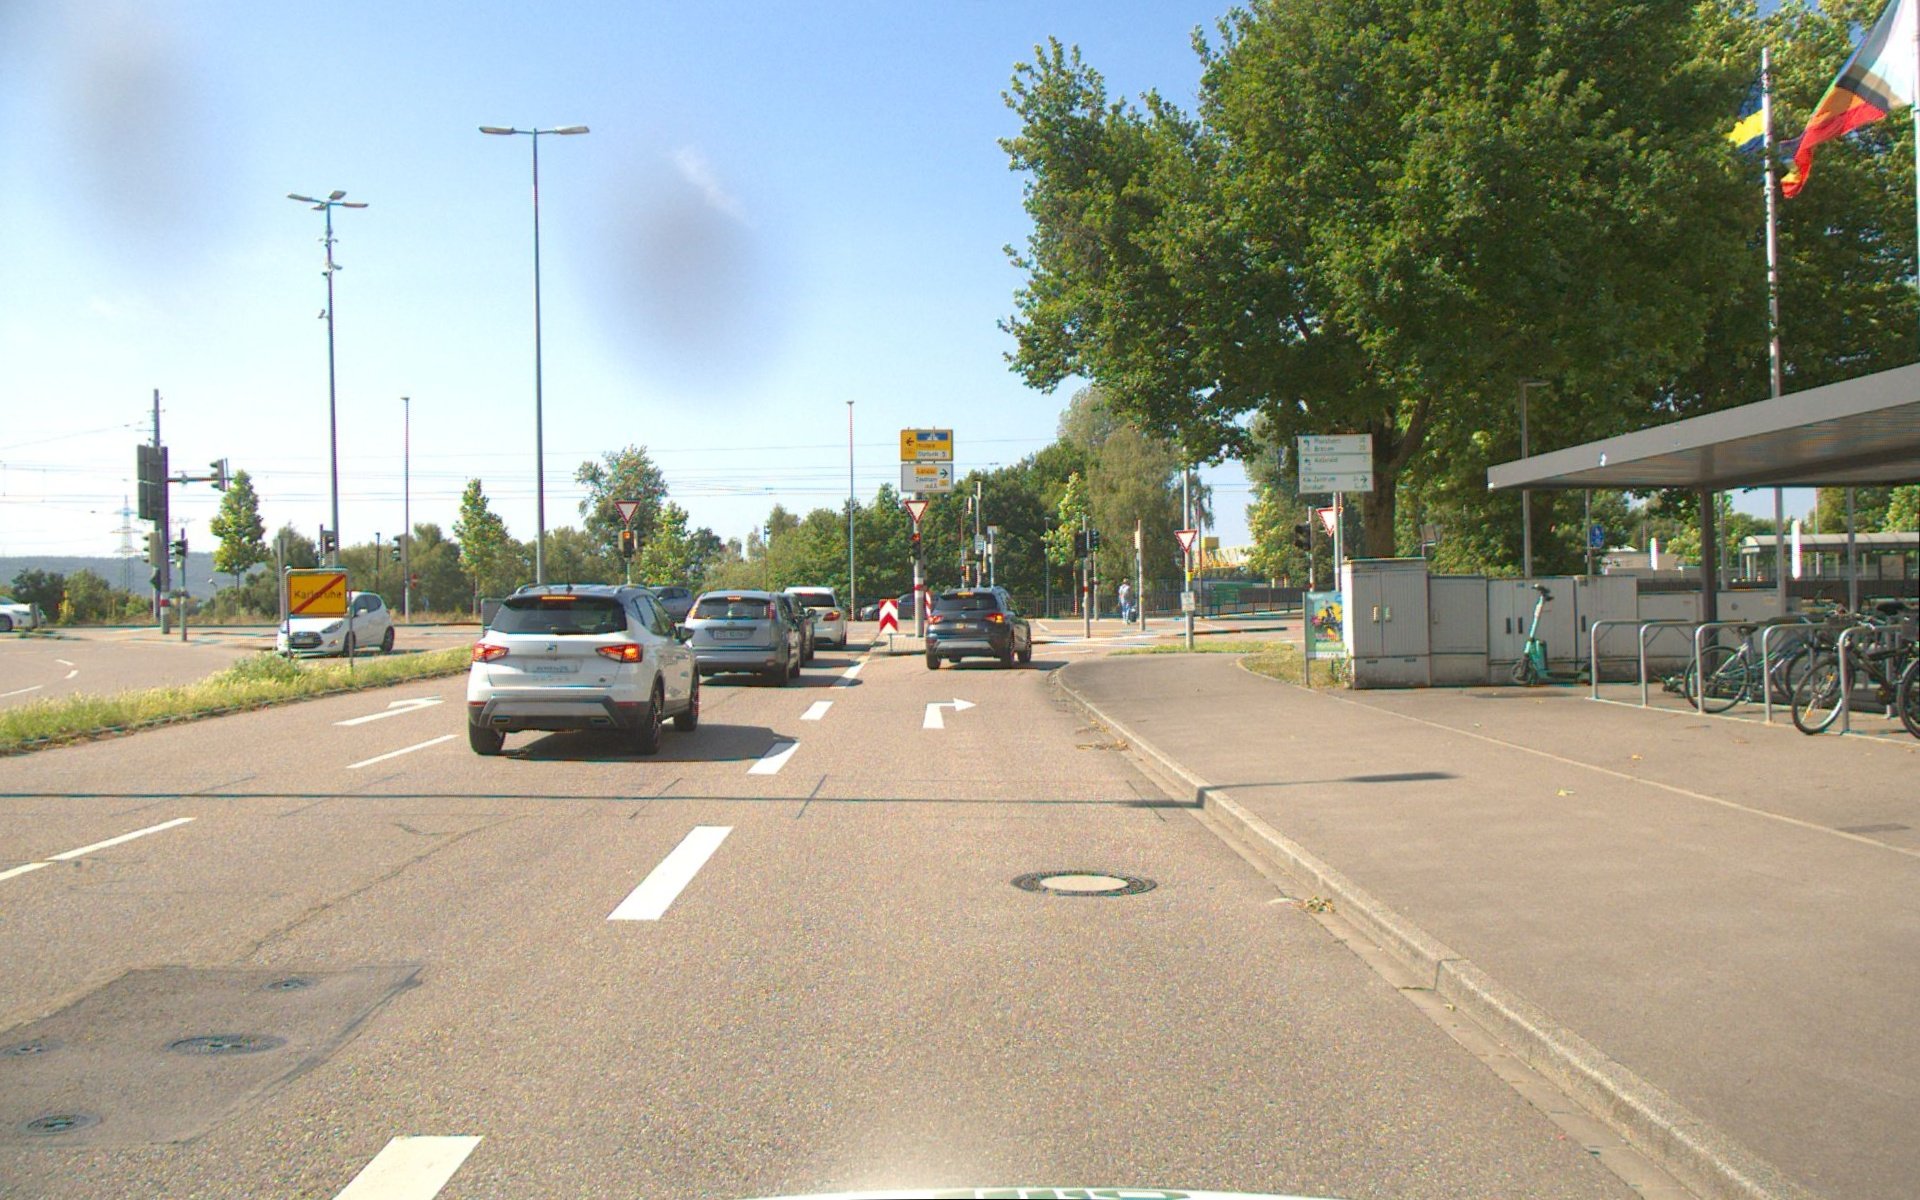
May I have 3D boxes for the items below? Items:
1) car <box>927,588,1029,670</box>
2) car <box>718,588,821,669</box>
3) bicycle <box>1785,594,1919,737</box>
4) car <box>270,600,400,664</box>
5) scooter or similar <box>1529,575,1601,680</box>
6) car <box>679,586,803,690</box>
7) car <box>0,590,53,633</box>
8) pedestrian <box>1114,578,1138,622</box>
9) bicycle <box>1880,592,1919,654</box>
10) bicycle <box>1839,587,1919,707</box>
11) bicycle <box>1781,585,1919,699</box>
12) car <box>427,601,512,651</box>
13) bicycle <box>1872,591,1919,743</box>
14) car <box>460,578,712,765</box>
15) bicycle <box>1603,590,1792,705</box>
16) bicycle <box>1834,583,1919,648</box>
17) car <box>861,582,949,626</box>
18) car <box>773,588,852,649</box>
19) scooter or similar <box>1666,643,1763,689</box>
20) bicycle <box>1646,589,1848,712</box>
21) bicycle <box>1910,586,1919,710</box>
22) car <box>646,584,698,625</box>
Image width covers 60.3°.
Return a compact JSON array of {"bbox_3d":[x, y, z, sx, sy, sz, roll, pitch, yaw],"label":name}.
[{"bbox_3d":[0.405,0.541,32.979,1.634,1.550,3.379,0,0,7],"label":"car"},{"bbox_3d":[-3.890,0.539,34.409,1.702,1.538,4.199,-2,0,-1],"label":"car"},{"bbox_3d":[7.767,0.519,13.607,1.723,1.115,0.452,-2,0,-1],"label":"bicycle"},{"bbox_3d":[-16.229,0.800,43.156,1.757,1.574,4.087,-1,0,1],"label":"car"},{"bbox_3d":[7.650,0.347,20.921,0.761,1.287,0.283,-2,0,-4],"label":"scooter or similar"},{"bbox_3d":[-3.588,0.576,27.688,1.672,1.600,4.172,0,0,-3],"label":"car"},{"bbox_3d":[-35.754,0.443,61.486,3.278,1.526,1.408,-1,-1,-5],"label":"car"},{"bbox_3d":[6.019,-0.013,59.992,0.756,1.537,1.008,-1,1,10],"label":"pedestrian"},{"bbox_3d":[15.118,0.341,25.558,1.529,0.925,0.434,-1,0,1],"label":"bicycle"},{"bbox_3d":[9.464,0.425,15.889,1.791,1.115,0.452,-2,0,-1],"label":"bicycle"},{"bbox_3d":[9.462,0.418,17.081,1.723,1.115,0.452,-2,0,-1],"label":"bicycle"},{"bbox_3d":[-10.749,0.554,36.354,1.094,1.021,2.492,-2,0,1],"label":"car"},{"bbox_3d":[7.874,0.472,12.477,1.723,1.115,0.452,-2,0,-1],"label":"bicycle"},{"bbox_3d":[-3.539,0.595,16.320,1.597,1.524,3.870,0,2,0],"label":"car"},{"bbox_3d":[7.583,0.480,17.025,1.723,1.115,0.452,-2,0,-1],"label":"bicycle"},{"bbox_3d":[14.979,0.238,26.659,1.529,1.012,0.434,-1,0,1],"label":"bicycle"},{"bbox_3d":[-2.691,0.192,80.931,3.922,2.049,1.991,-1,-1,-16],"label":"car"},{"bbox_3d":[-3.731,0.432,42.496,1.706,1.473,4.388,-1,0,-1],"label":"car"},{"bbox_3d":[8.619,0.750,18.939,0.897,0.459,0.961,-3,-1,19],"label":"scooter or similar"},{"bbox_3d":[7.611,0.479,16.026,1.723,1.115,0.452,-2,0,-1],"label":"bicycle"},{"bbox_3d":[9.531,0.408,14.858,1.723,1.115,0.452,-2,0,-1],"label":"bicycle"},{"bbox_3d":[-12.557,0.162,72.388,1.594,1.653,3.916,-1,1,-1],"label":"car"}]
